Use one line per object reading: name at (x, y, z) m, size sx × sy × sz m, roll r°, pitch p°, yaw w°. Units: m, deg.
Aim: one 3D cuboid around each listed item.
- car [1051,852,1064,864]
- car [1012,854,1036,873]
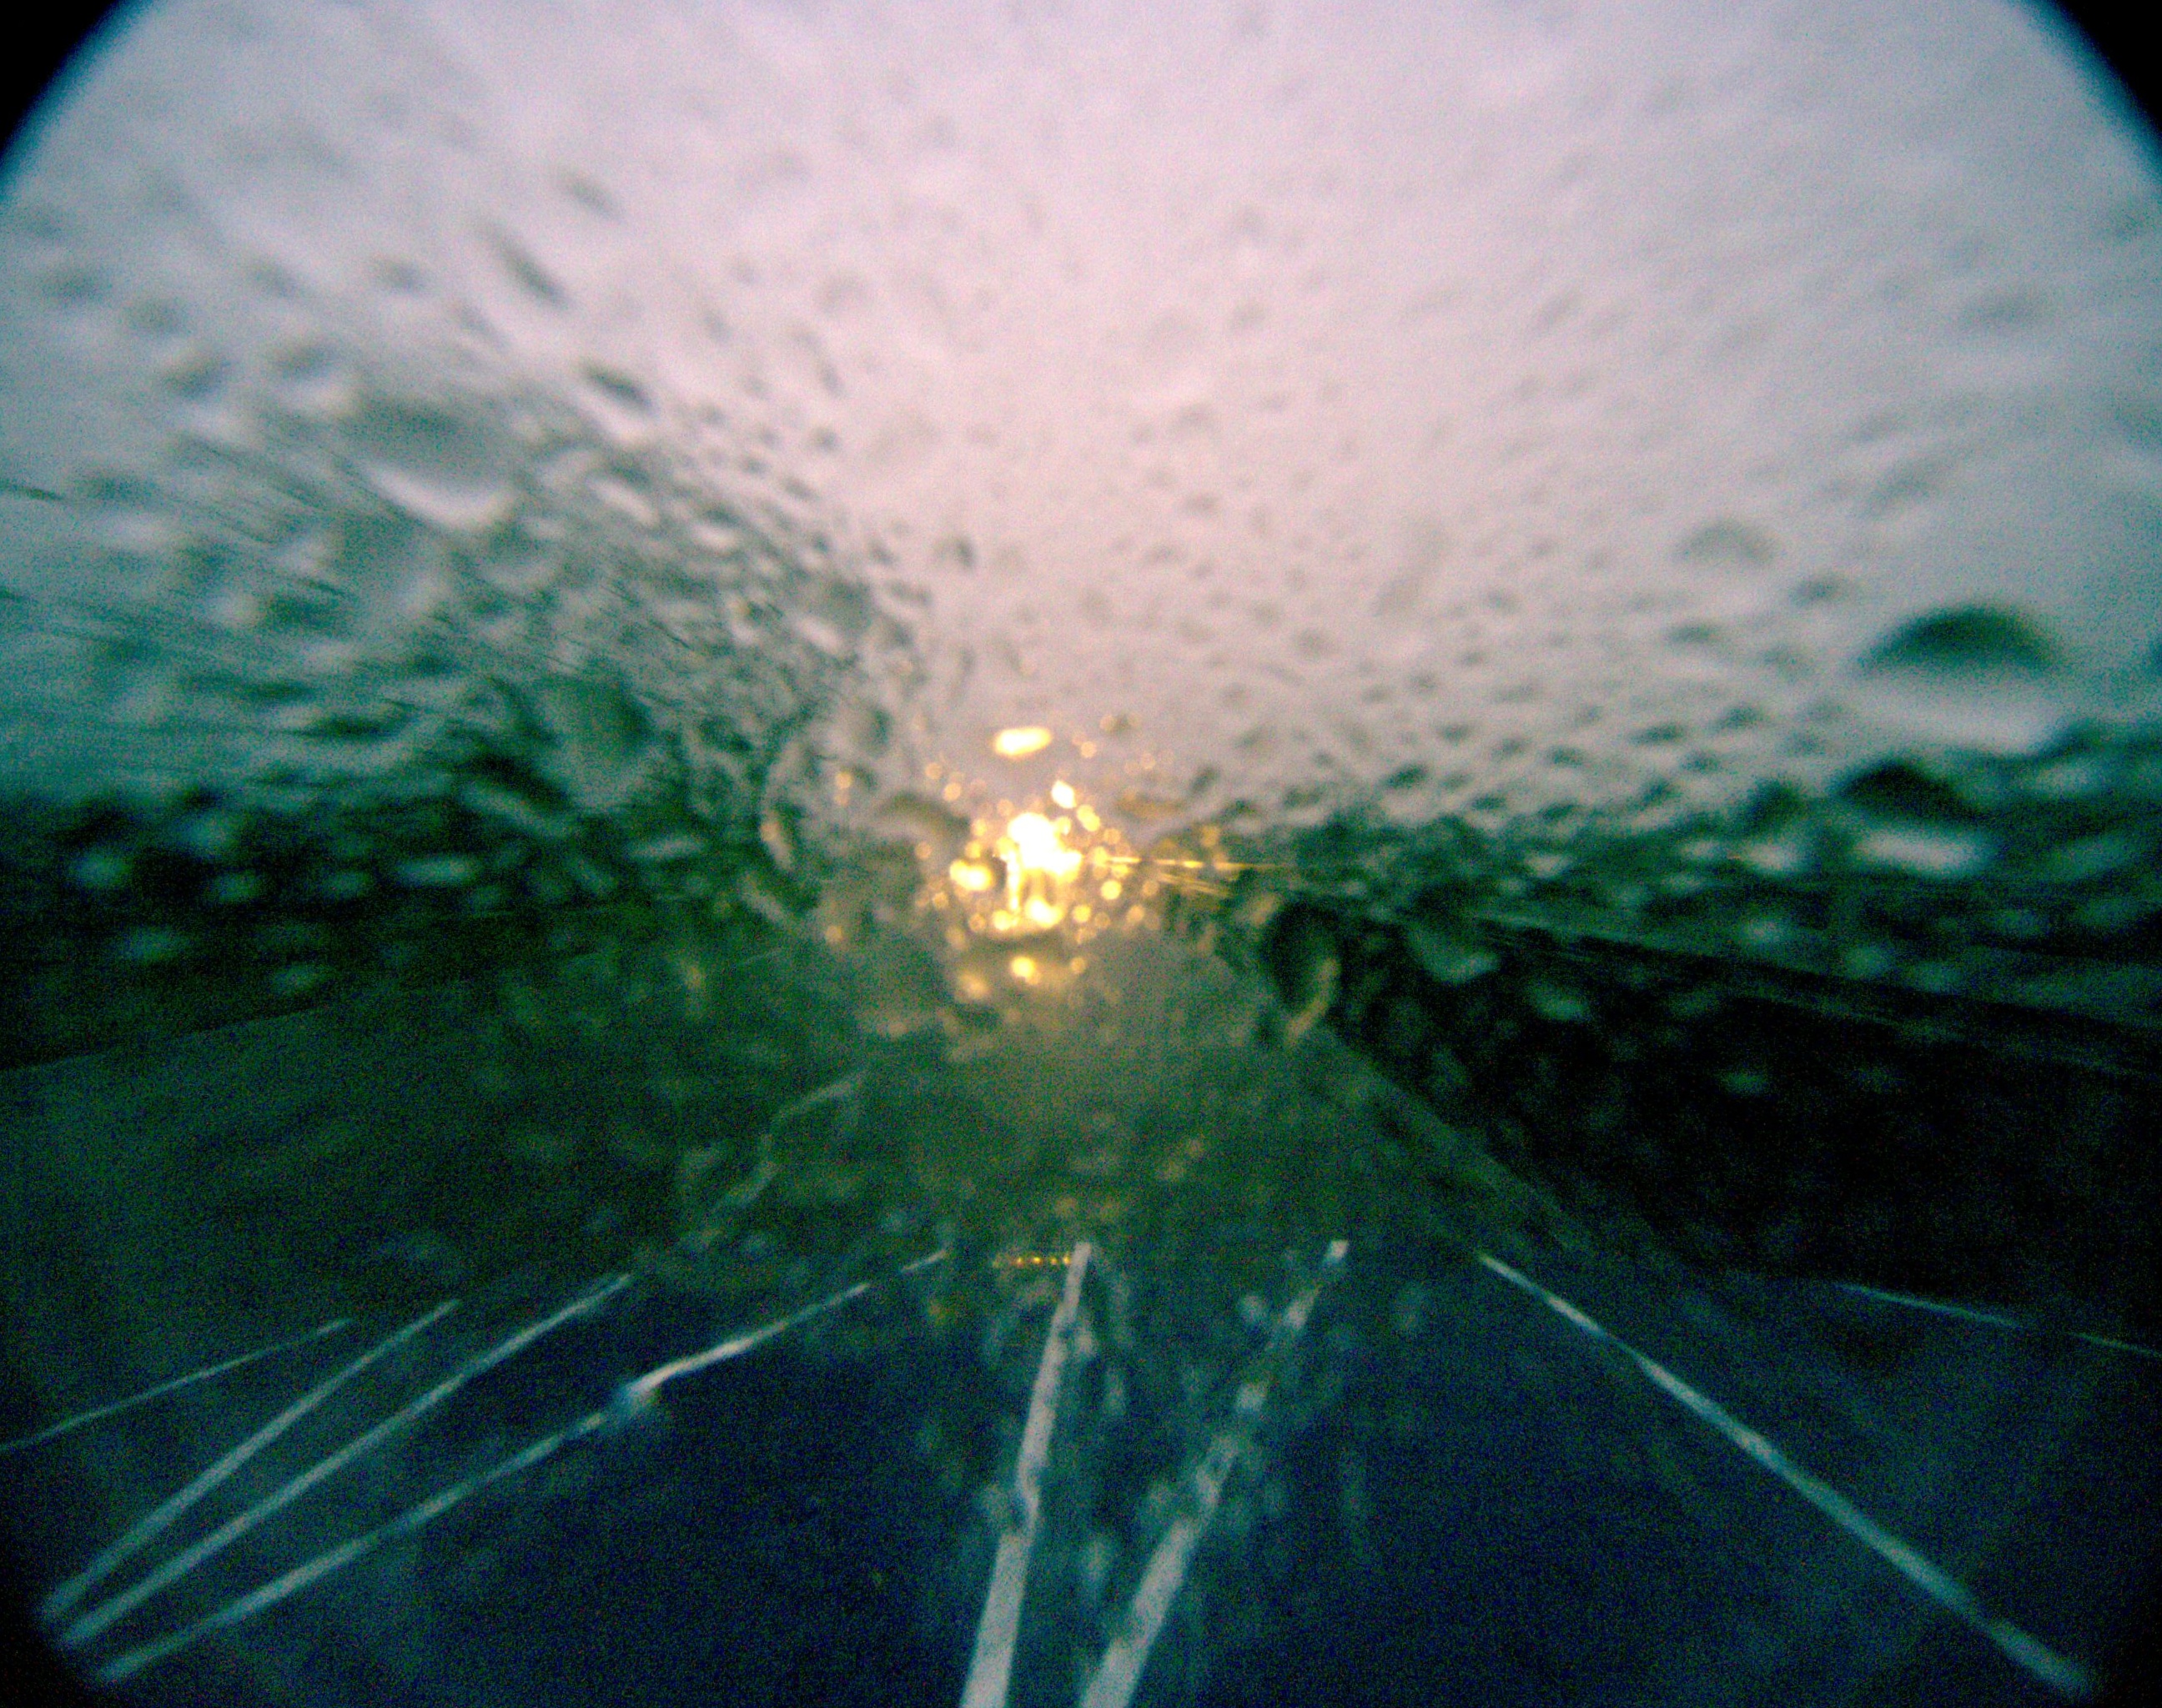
car at (-2.966, 0.474, 97.162) m, size 1.632 × 1.465 × 3.999 m, roll -1°, pitch 0°, yaw -2°
car at (-4.808, 0.813, 64.602) m, size 1.802 × 1.494 × 3.999 m, roll -4°, pitch 0°, yaw -2°
